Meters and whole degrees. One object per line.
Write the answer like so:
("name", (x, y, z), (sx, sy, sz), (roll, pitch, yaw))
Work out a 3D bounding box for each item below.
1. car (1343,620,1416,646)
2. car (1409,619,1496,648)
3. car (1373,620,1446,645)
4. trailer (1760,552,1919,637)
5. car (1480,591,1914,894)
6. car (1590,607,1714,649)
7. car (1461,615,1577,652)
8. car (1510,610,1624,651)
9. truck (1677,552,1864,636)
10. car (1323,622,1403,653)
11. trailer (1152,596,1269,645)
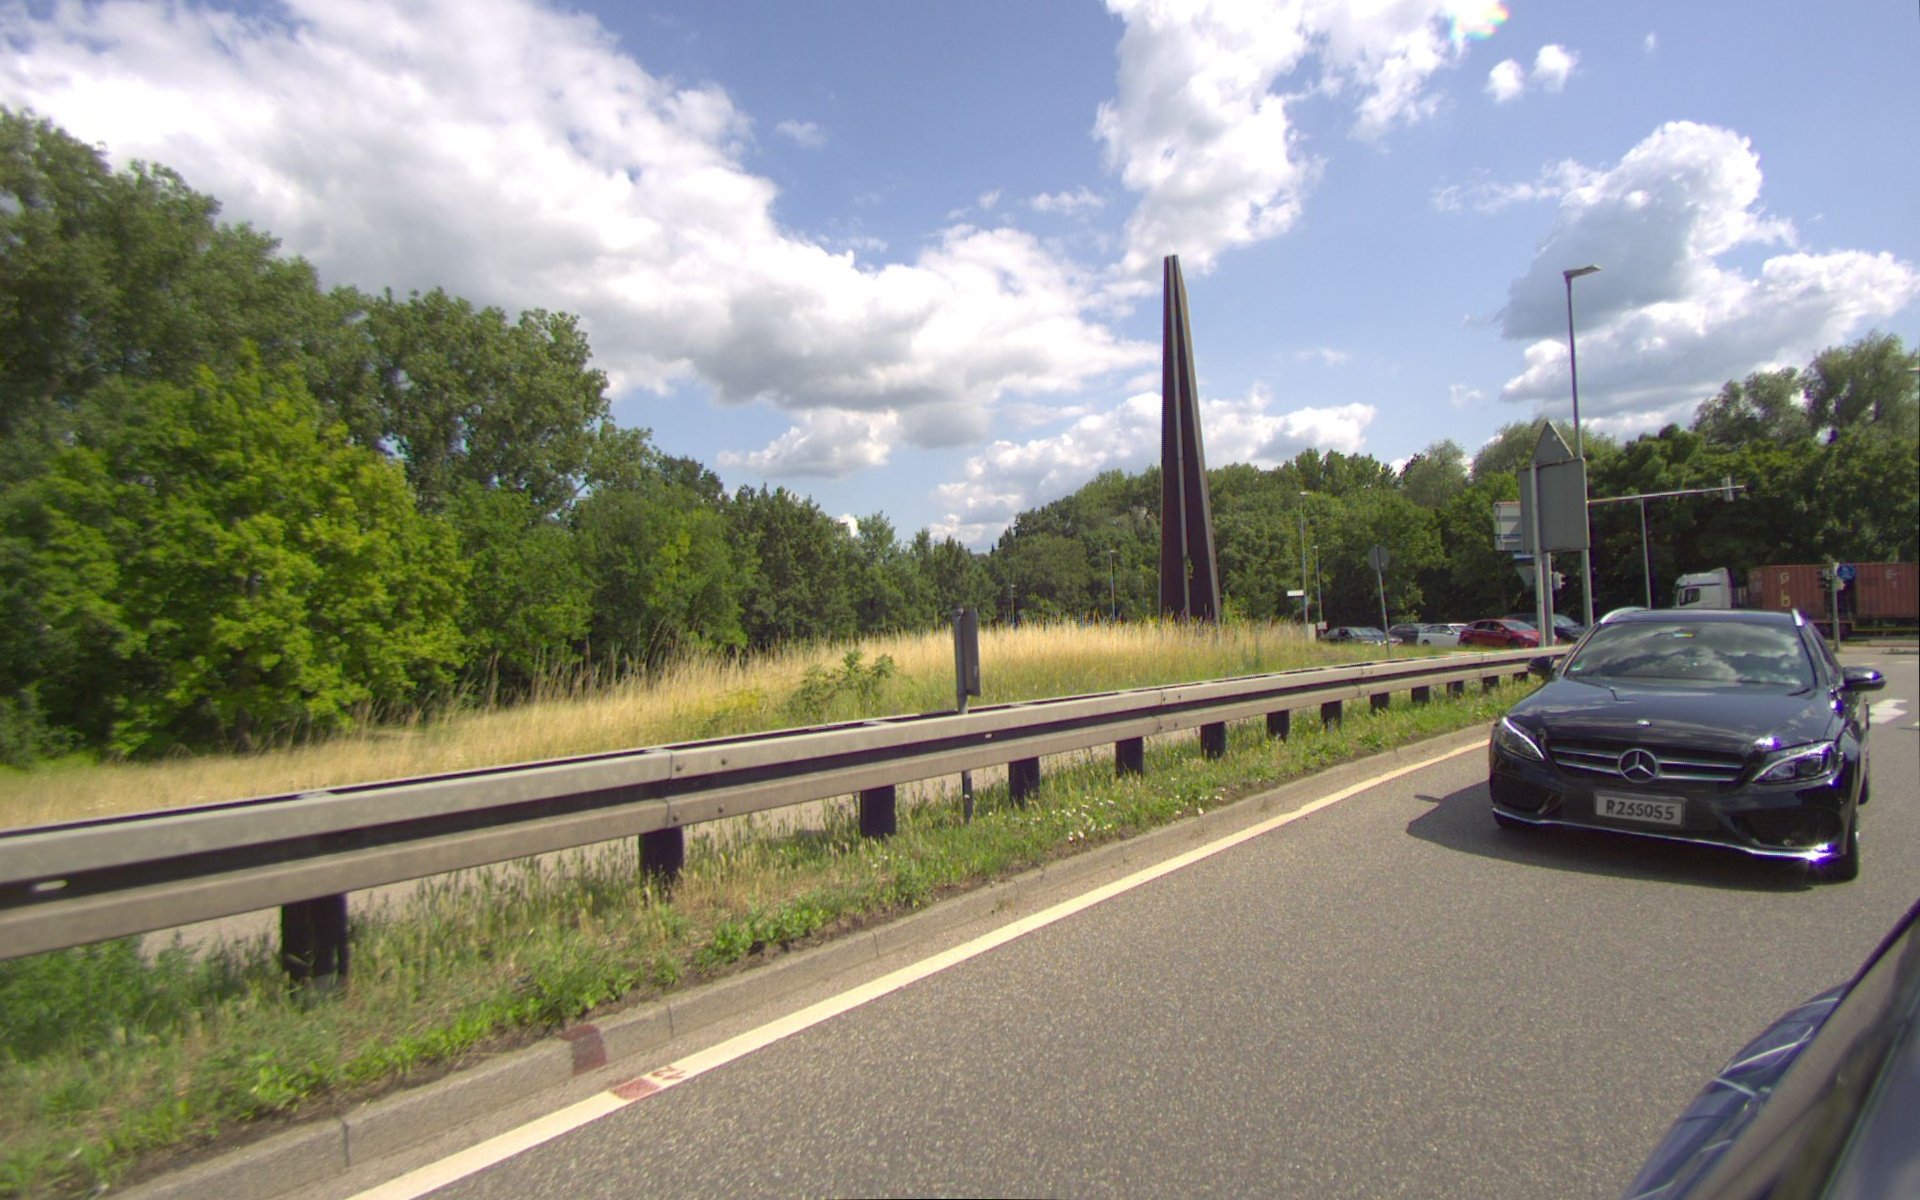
("car", (23.392, 1.839, 56.654), (1.665, 1.393, 4.221), (0, -2, -11))
("car", (24.520, 1.693, 50.548), (1.612, 1.393, 4.221), (0, -2, -11))
("car", (26.182, 1.915, 59.047), (1.841, 1.393, 4.055), (0, -2, -11))
("trailer", (45.788, -0.273, 47.692), (12.199, 3.900, 2.754), (-2, -2, 27))
("car", (5.318, 0.692, 7.044), (1.791, 1.454, 4.299), (-2, -1, 45))
("car", (29.792, 1.232, 43.735), (1.807, 1.638, 4.301), (-2, -2, -11))
("car", (22.533, 1.355, 40.991), (1.722, 1.393, 4.221), (0, -2, -11))
("car", (26.098, 1.347, 43.696), (1.799, 1.667, 4.221), (0, -2, -11))
("truck", (40.206, -0.213, 50.535), (6.758, 3.895, 2.749), (-2, -2, 29))
("car", (20.758, 1.969, 52.311), (1.828, 1.483, 4.005), (-2, -2, -12))
("trailer", (22.194, 2.001, 91.097), (2.592, 3.942, 13.867), (0, -3, -21))
